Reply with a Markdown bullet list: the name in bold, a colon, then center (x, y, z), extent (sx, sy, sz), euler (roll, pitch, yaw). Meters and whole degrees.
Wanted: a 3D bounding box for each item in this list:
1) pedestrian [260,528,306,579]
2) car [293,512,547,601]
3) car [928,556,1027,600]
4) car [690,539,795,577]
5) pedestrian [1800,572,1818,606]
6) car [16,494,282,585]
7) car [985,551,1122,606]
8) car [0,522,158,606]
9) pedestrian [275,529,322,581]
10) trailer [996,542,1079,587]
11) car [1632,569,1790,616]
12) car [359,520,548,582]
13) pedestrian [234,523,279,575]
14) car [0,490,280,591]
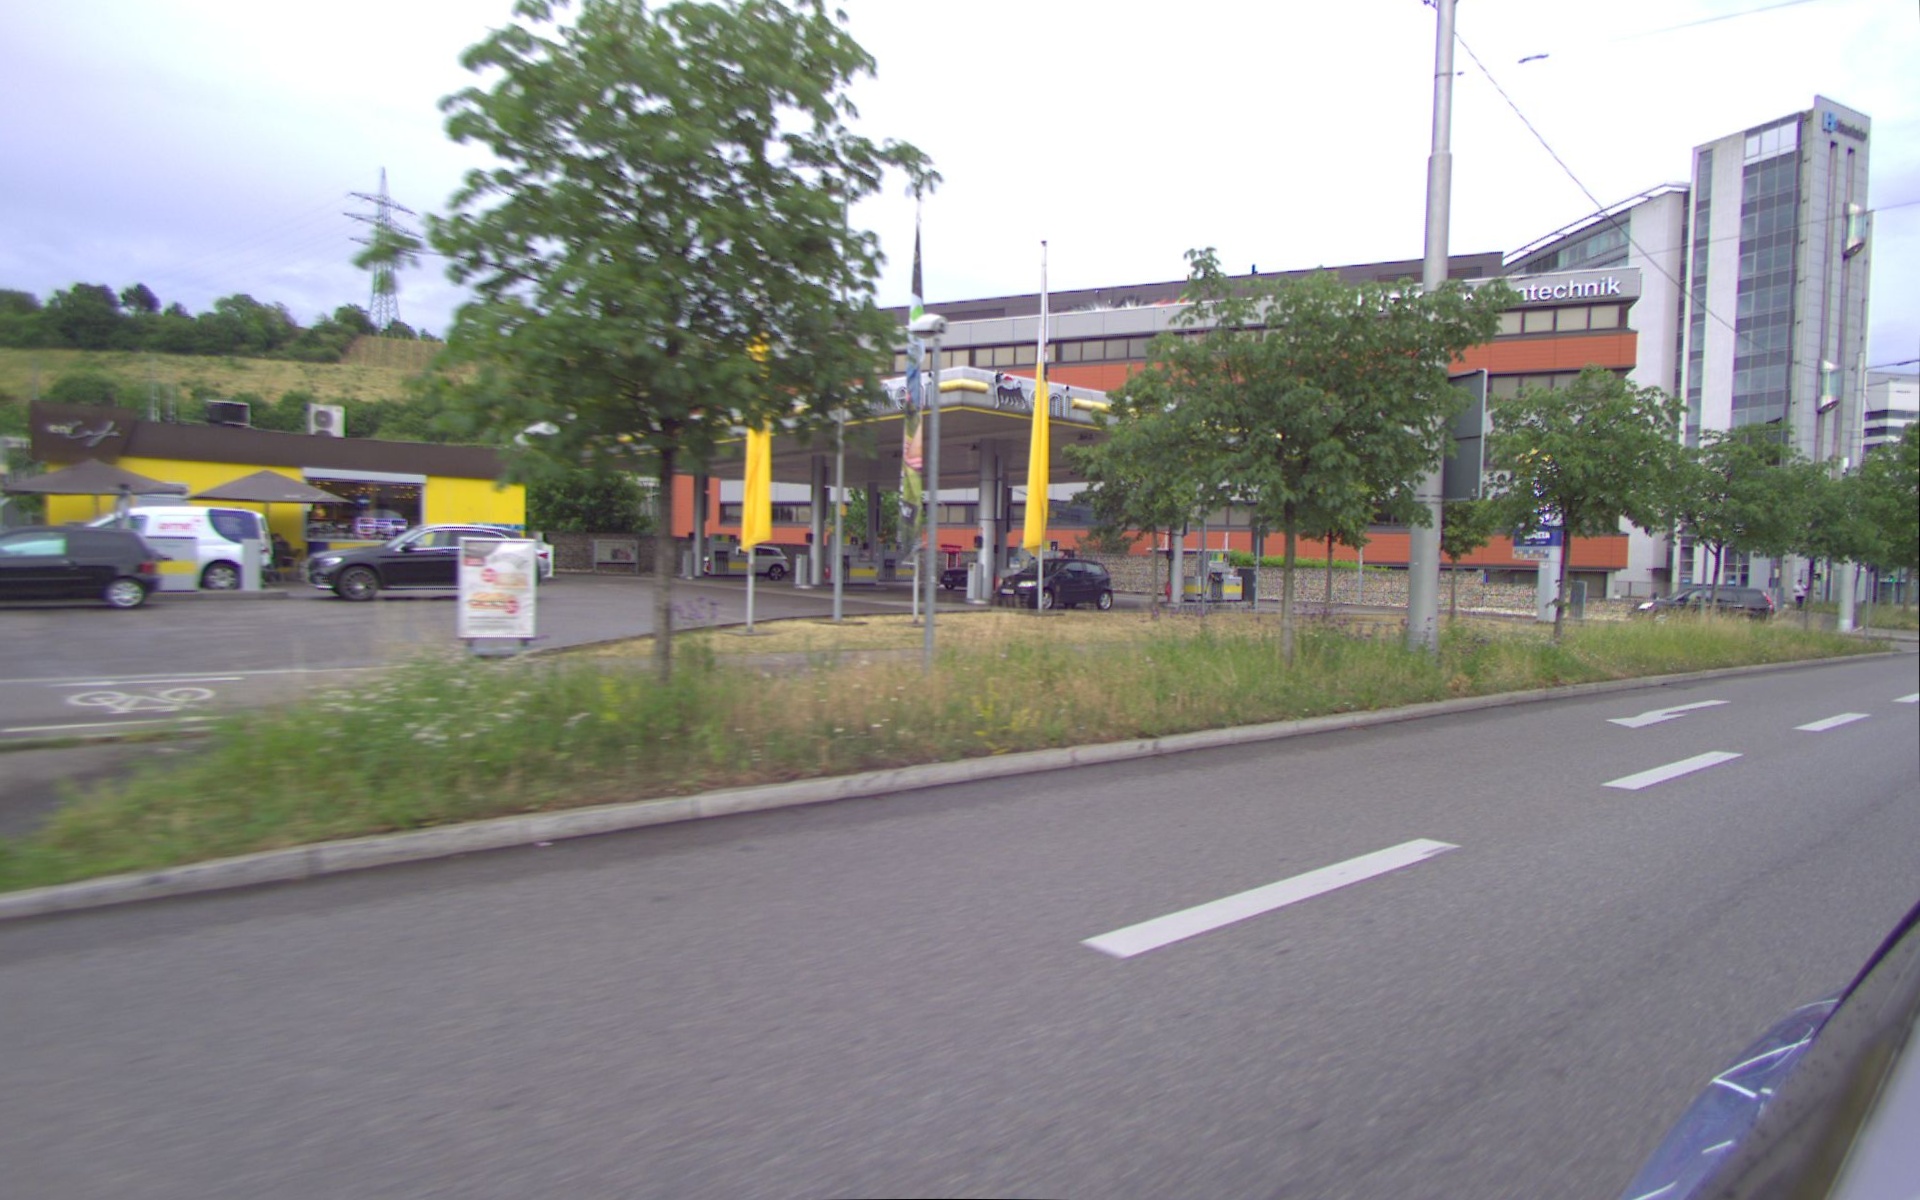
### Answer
- **pedestrian**: center (-18.233, -1.240, 27.261), extent (0.795, 1.334, 0.771), euler (3, 2, 34)
- **car**: center (-11.838, -0.938, 22.341), extent (4.634, 1.757, 1.998), euler (0, 4, -41)
- **car**: center (0.785, -0.950, 43.994), extent (3.930, 1.668, 1.903), euler (0, 6, -41)
- **car**: center (-10.398, -1.978, 48.544), extent (4.520, 1.686, 1.997), euler (0, 0, -41)
- **pedestrian**: center (49.352, -0.628, 58.832), extent (0.675, 1.925, 0.672), euler (0, -1, 26)
- **car**: center (-18.590, -1.340, 23.411), extent (4.633, 1.882, 1.998), euler (0, 3, -40)
- **car**: center (2.724, -0.606, 29.120), extent (3.714, 1.436, 1.784), euler (0, 3, -39)
- **car**: center (-15.717, -0.612, 17.055), extent (3.427, 1.354, 1.394), euler (0, 2, -40)
- **pedestrian**: center (-17.435, -1.191, 26.678), extent (0.795, 1.334, 0.771), euler (3, 2, 34)
- **trailer**: center (4.079, -1.880, 53.309), extent (3.959, 2.173, 1.824), euler (3, 2, 25)
- **car**: center (27.738, -0.271, 37.539), extent (4.300, 1.667, 1.784), euler (0, 0, 18)
- **car**: center (-14.821, -1.422, 29.731), extent (4.634, 1.628, 1.998), euler (0, 4, -41)
- **pedestrian**: center (-18.239, -1.319, 26.237), extent (0.795, 1.334, 0.705), euler (3, 2, 34)
- **car**: center (-17.056, -1.184, 21.057), extent (4.634, 1.882, 1.998), euler (0, 3, -41)
